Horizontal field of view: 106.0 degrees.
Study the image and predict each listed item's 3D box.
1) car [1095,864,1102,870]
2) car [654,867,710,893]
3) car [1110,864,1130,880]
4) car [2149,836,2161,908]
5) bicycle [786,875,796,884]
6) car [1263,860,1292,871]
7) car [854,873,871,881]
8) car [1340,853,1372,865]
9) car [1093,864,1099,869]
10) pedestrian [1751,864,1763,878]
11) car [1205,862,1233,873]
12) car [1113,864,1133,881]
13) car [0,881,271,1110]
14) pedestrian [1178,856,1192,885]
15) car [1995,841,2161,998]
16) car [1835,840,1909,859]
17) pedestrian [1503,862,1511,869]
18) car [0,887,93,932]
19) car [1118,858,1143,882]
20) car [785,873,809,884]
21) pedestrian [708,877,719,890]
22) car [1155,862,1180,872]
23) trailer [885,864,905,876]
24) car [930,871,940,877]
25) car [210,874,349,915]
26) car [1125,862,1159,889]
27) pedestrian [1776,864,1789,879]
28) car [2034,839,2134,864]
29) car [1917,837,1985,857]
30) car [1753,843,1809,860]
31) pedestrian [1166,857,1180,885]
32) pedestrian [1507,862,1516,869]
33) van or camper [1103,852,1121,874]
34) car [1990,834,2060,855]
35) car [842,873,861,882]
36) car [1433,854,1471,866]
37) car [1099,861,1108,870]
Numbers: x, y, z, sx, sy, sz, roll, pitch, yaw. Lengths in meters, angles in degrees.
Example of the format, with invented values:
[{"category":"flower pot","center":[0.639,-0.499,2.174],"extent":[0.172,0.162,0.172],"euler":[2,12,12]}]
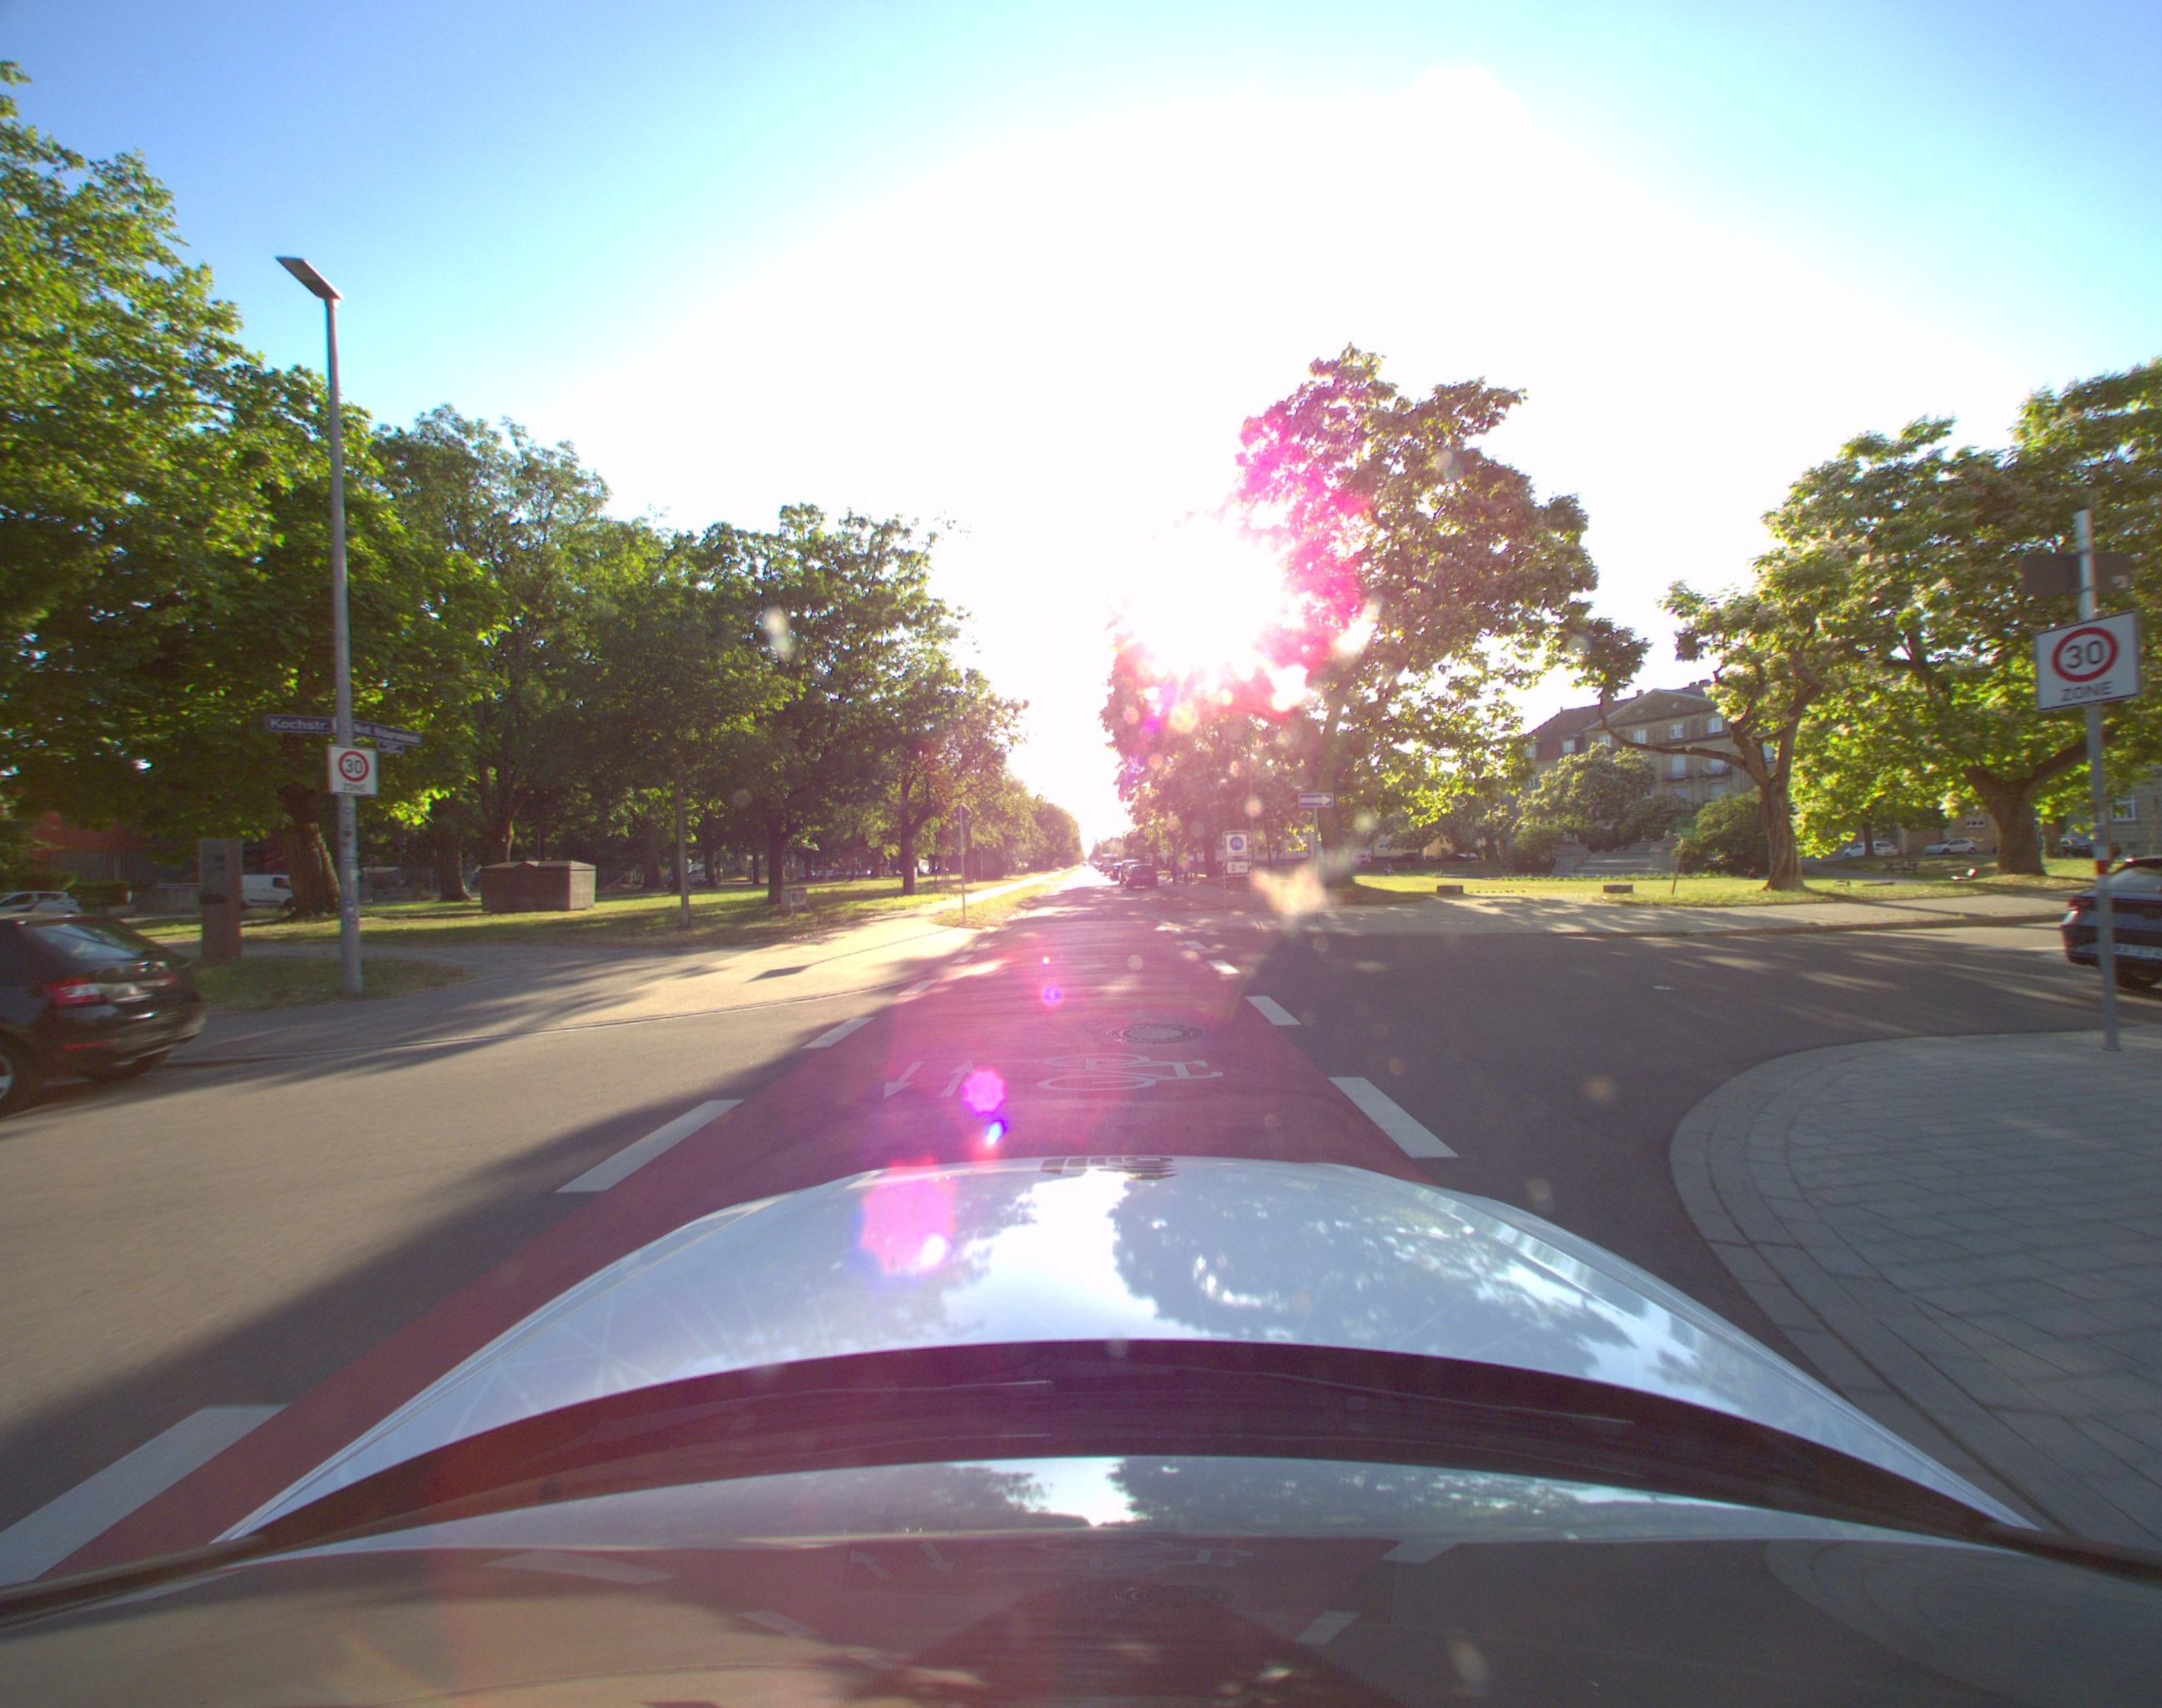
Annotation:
[{"category":"car","center":[4.627,3.364,211.384],"extent":[1.621,1.410,4.248],"euler":[-2,-1,0]},{"category":"car","center":[-41.519,2.698,84.933],"extent":[2.713,2.463,6.315],"euler":[-2,-1,-1]},{"category":"car","center":[4.037,1.865,84.994],"extent":[1.726,1.551,4.420],"euler":[-2,-1,-1]},{"category":"car","center":[23.726,0.272,16.158],"extent":[4.367,1.417,1.833],"euler":[-2,-1,-20]},{"category":"bicycle","center":[-42.795,3.740,120.076],"extent":[0.655,1.175,2.331],"euler":[-2,-1,-2]},{"category":"car","center":[32.382,1.872,134.129],"extent":[4.474,1.569,1.889],"euler":[-2,-1,19]},{"category":"car","center":[-40.502,4.285,151.231],"extent":[1.986,1.508,4.116],"euler":[-2,-1,1]},{"category":"car","center":[43.266,0.786,128.168],"extent":[4.467,1.746,1.892],"euler":[-3,-2,35]},{"category":"car","center":[4.795,3.925,258.932],"extent":[1.621,1.410,4.248],"euler":[-2,-1,0]},{"category":"pedestrian","center":[42.977,1.084,51.760],"extent":[0.571,0.881,0.681],"euler":[-2,-2,38]},{"category":"car","center":[22.124,2.174,130.749],"extent":[4.163,1.463,1.700],"euler":[-2,-1,15]},{"category":"car","center":[4.018,1.789,78.743],"extent":[1.725,1.551,4.276],"euler":[-2,-1,1]},{"category":"car","center":[-9.110,1.055,6.001],"extent":[4.006,1.574,1.875],"euler":[-1,-3,-25]},{"category":"pedestrian","center":[6.447,1.012,50.518],"extent":[0.723,1.736,0.732],"euler":[-1,-1,1]},{"category":"car","center":[12.051,0.541,7.916],"extent":[4.432,1.419,1.932],"euler":[-2,-1,-5]},{"category":"car","center":[66.133,-0.337,68.198],"extent":[1.803,1.417,4.960],"euler":[-2,-1,8]},{"category":"pedestrian","center":[50.440,1.403,96.455],"extent":[0.586,0.794,0.665],"euler":[-2,-2,-11]},{"category":"car","center":[-41.863,2.178,31.779],"extent":[1.987,1.618,3.738],"euler":[-1,-1,1]},{"category":"car","center":[3.808,1.239,63.334],"extent":[1.673,1.740,4.513],"euler":[-2,-1,0]},{"category":"car","center":[-42.096,3.570,120.820],"extent":[1.986,1.508,4.000],"euler":[-2,-1,1]},{"category":"pedestrian","center":[-27.398,2.196,60.660],"extent":[0.547,0.987,0.609],"euler":[-2,-2,-5]},{"category":"car","center":[14.700,2.227,138.188],"extent":[4.176,1.531,2.002],"euler":[-2,-1,4]},{"category":"trailer","center":[-40.458,3.507,177.565],"extent":[2.450,2.489,7.050],"euler":[-2,-1,1]},{"category":"car","center":[-39.669,5.528,221.631],"extent":[1.986,1.508,4.116],"euler":[-2,-1,1]},{"category":"car","center":[-44.432,2.198,45.269],"extent":[4.941,2.114,2.675],"euler":[-1,-1,-3]},{"category":"car","center":[3.624,1.311,49.389],"extent":[1.673,1.486,4.808],"euler":[-2,-1,0]},{"category":"pedestrian","center":[43.863,1.091,50.898],"extent":[0.571,0.881,0.681],"euler":[-2,-2,38]},{"category":"car","center":[61.487,-0.127,50.048],"extent":[1.797,1.417,4.978],"euler":[-3,-1,25]},{"category":"car","center":[79.875,-0.623,74.801],"extent":[4.197,1.623,1.820],"euler":[-2,-1,1]},{"category":"car","center":[67.124,-0.208,78.172],"extent":[1.807,1.417,4.096],"euler":[-2,-1,1]},{"category":"pedestrian","center":[5.691,1.039,50.493],"extent":[0.750,1.736,0.732],"euler":[-1,-1,1]},{"category":"pedestrian","center":[50.564,1.403,95.720],"extent":[0.586,0.794,0.665],"euler":[-2,-2,-11]},{"category":"van or camper","center":[4.382,1.368,116.301],"extent":[2.227,2.904,5.671],"euler":[-2,-2,0]},{"category":"car","center":[86.285,-0.858,74.498],"extent":[4.197,1.623,1.820],"euler":[-2,-1,1]},{"category":"car","center":[-40.572,4.118,144.028],"extent":[1.986,1.508,4.116],"euler":[-2,-1,1]},{"category":"car","center":[51.090,0.801,112.291],"extent":[1.889,1.453,4.318],"euler":[-1,-2,-38]},{"category":"car","center":[4.363,2.209,157.593],"extent":[1.621,1.669,4.248],"euler":[-2,-1,0]}]
